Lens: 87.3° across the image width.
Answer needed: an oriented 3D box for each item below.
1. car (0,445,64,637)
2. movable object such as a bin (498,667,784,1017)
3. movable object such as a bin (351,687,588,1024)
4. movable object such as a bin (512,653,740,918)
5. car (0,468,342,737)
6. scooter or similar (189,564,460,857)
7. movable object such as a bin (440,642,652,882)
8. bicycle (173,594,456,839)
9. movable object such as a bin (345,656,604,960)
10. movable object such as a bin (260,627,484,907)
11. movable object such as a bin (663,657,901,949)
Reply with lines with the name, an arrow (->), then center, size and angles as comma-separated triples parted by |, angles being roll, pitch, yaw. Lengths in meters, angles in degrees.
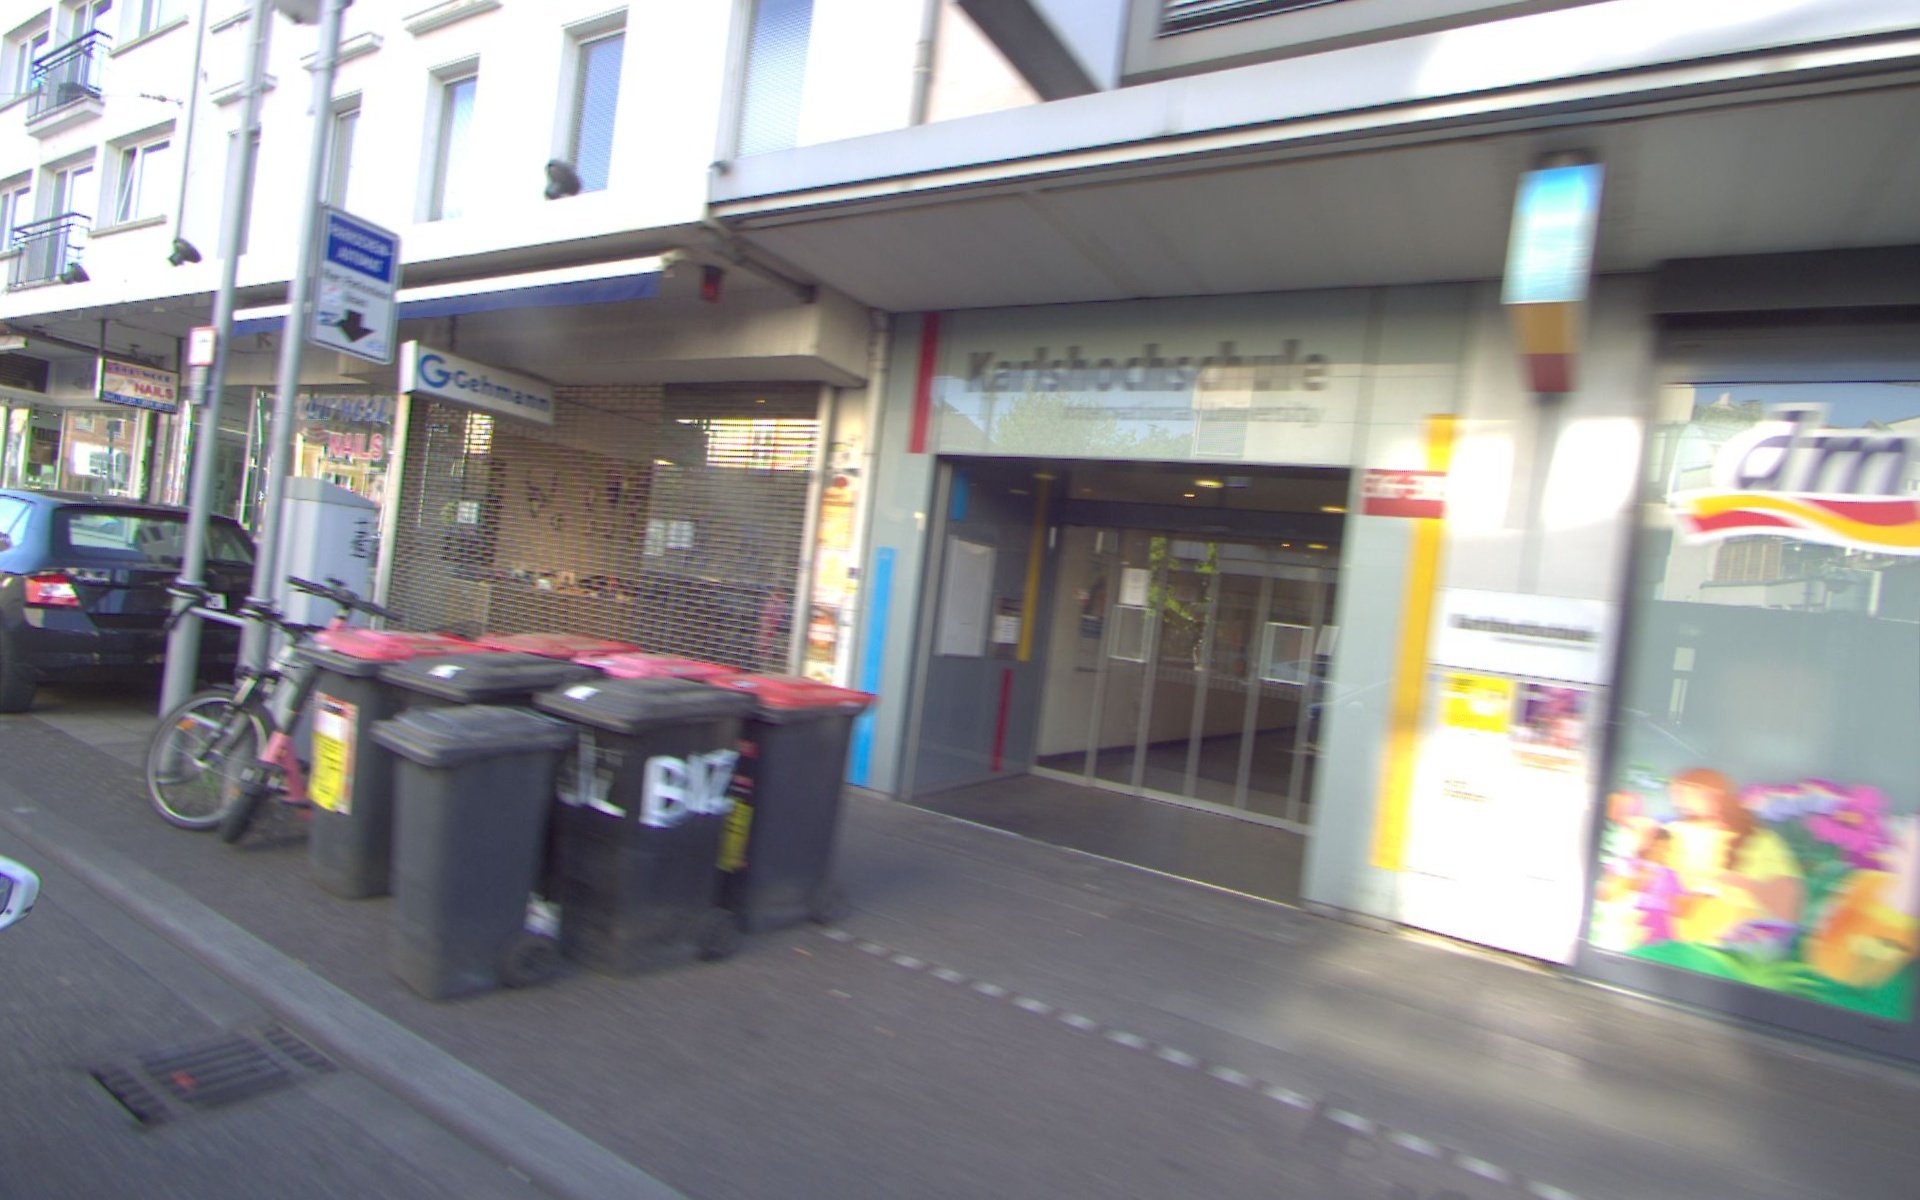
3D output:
car -> -11.197, -0.818, 10.090 | 5.106, 1.746, 1.850 | 7, 2, 32
movable object such as a bin -> -1.220, 0.856, 3.879 | 0.675, 1.102, 0.690 | 7, 1, 35
movable object such as a bin -> -1.652, 0.811, 3.403 | 0.450, 0.970, 0.487 | 7, 2, 35
movable object such as a bin -> -1.528, 0.805, 4.630 | 0.626, 1.027, 0.658 | 7, 1, 34
car -> -6.630, -0.122, 7.603 | 4.002, 1.547, 1.616 | 7, 1, 31
scooter or similar -> -3.014, 0.499, 4.839 | 0.314, 1.248, 0.993 | 7, 2, 30
movable object such as a bin -> -2.057, 0.768, 5.021 | 0.626, 1.027, 0.658 | 7, 1, 34
bicycle -> -3.244, 0.555, 5.139 | 0.314, 1.094, 1.132 | 7, 2, 30
movable object such as a bin -> -1.917, 0.774, 4.007 | 0.500, 1.027, 0.686 | 7, 1, 34
movable object such as a bin -> -2.531, 0.677, 4.332 | 0.660, 1.027, 0.522 | 7, 1, 34
movable object such as a bin -> -0.791, 0.851, 4.519 | 0.655, 1.102, 0.690 | 7, 1, 35
